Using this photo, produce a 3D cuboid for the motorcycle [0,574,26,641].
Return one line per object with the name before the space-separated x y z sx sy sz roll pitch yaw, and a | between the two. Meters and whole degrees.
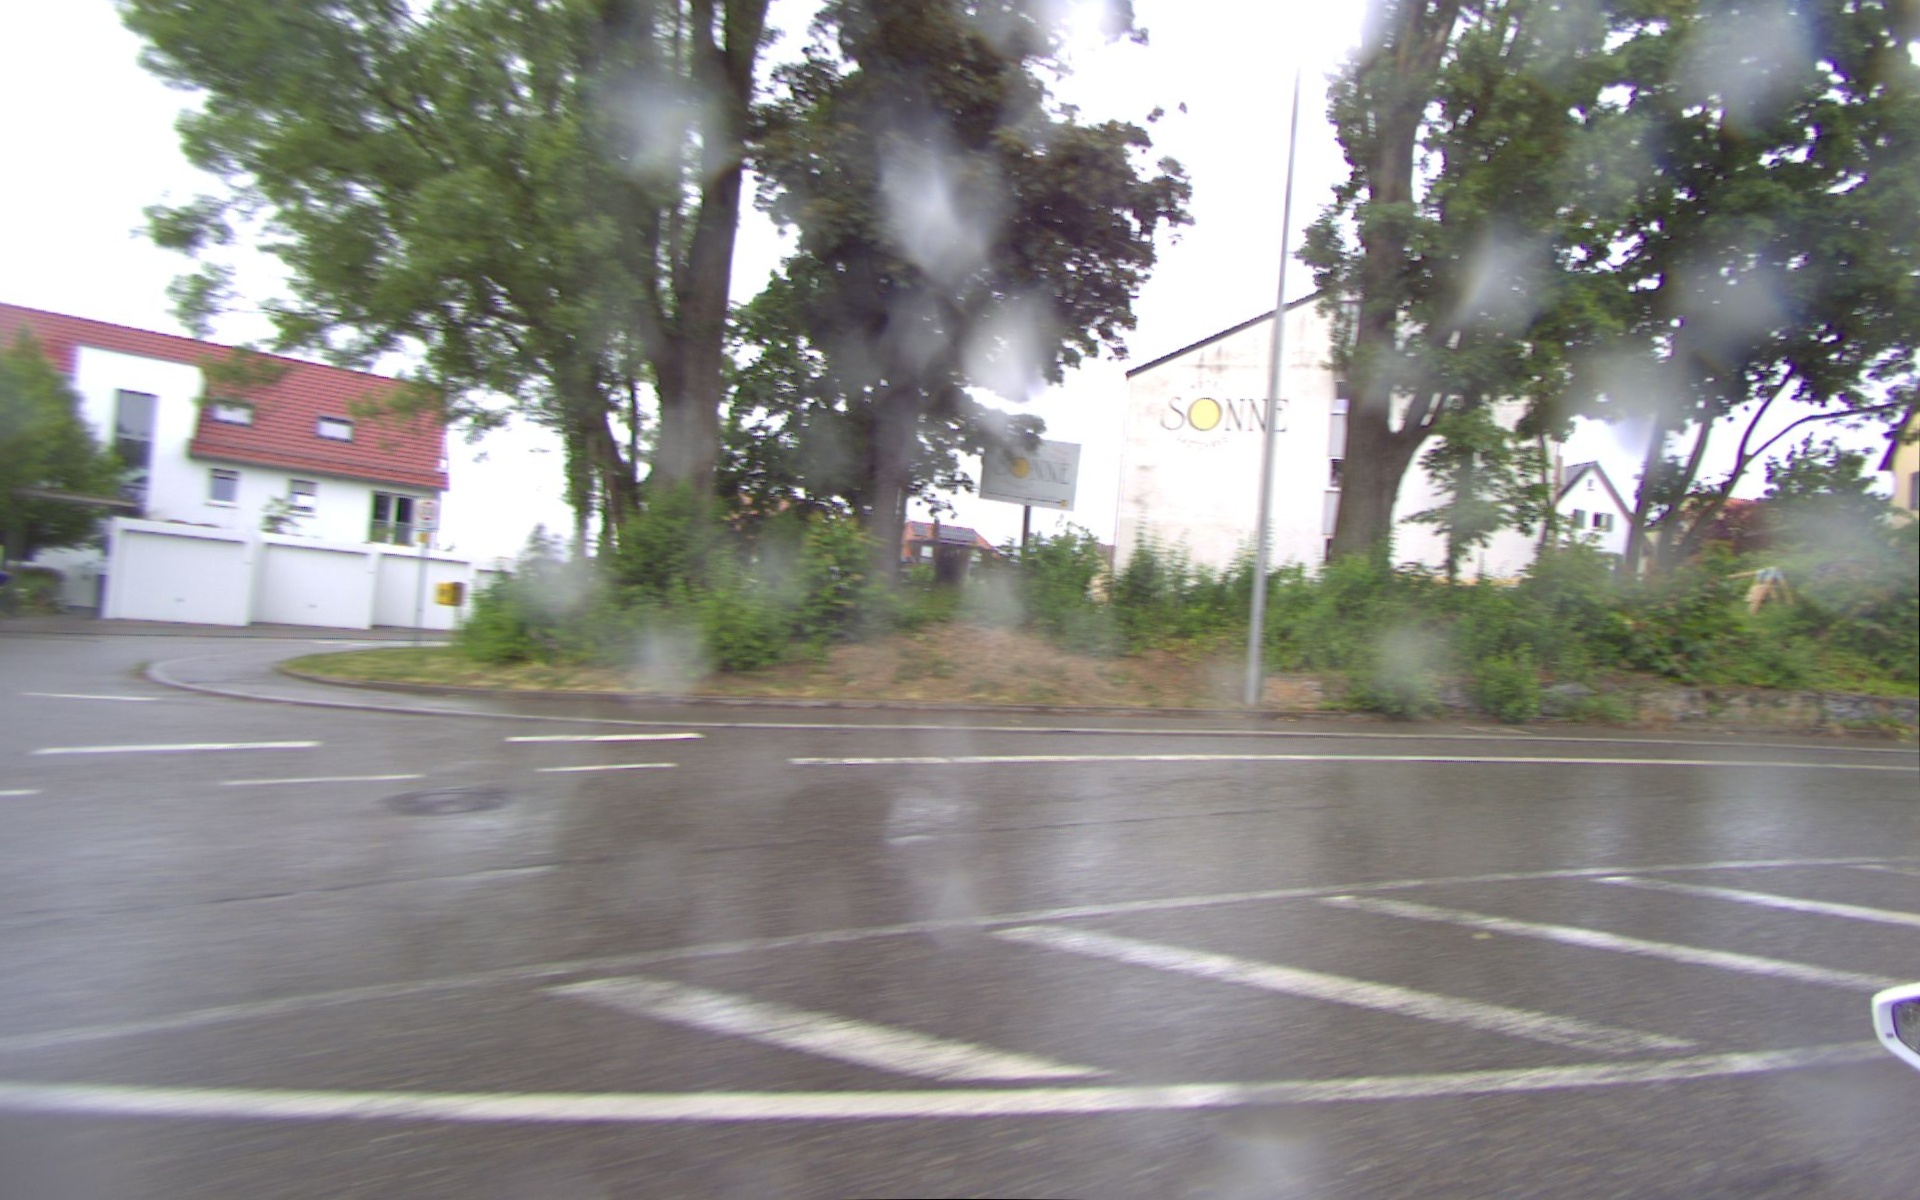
motorcycle | -20.220 0.126 20.150 0.697 1.339 2.041 3 0 32
